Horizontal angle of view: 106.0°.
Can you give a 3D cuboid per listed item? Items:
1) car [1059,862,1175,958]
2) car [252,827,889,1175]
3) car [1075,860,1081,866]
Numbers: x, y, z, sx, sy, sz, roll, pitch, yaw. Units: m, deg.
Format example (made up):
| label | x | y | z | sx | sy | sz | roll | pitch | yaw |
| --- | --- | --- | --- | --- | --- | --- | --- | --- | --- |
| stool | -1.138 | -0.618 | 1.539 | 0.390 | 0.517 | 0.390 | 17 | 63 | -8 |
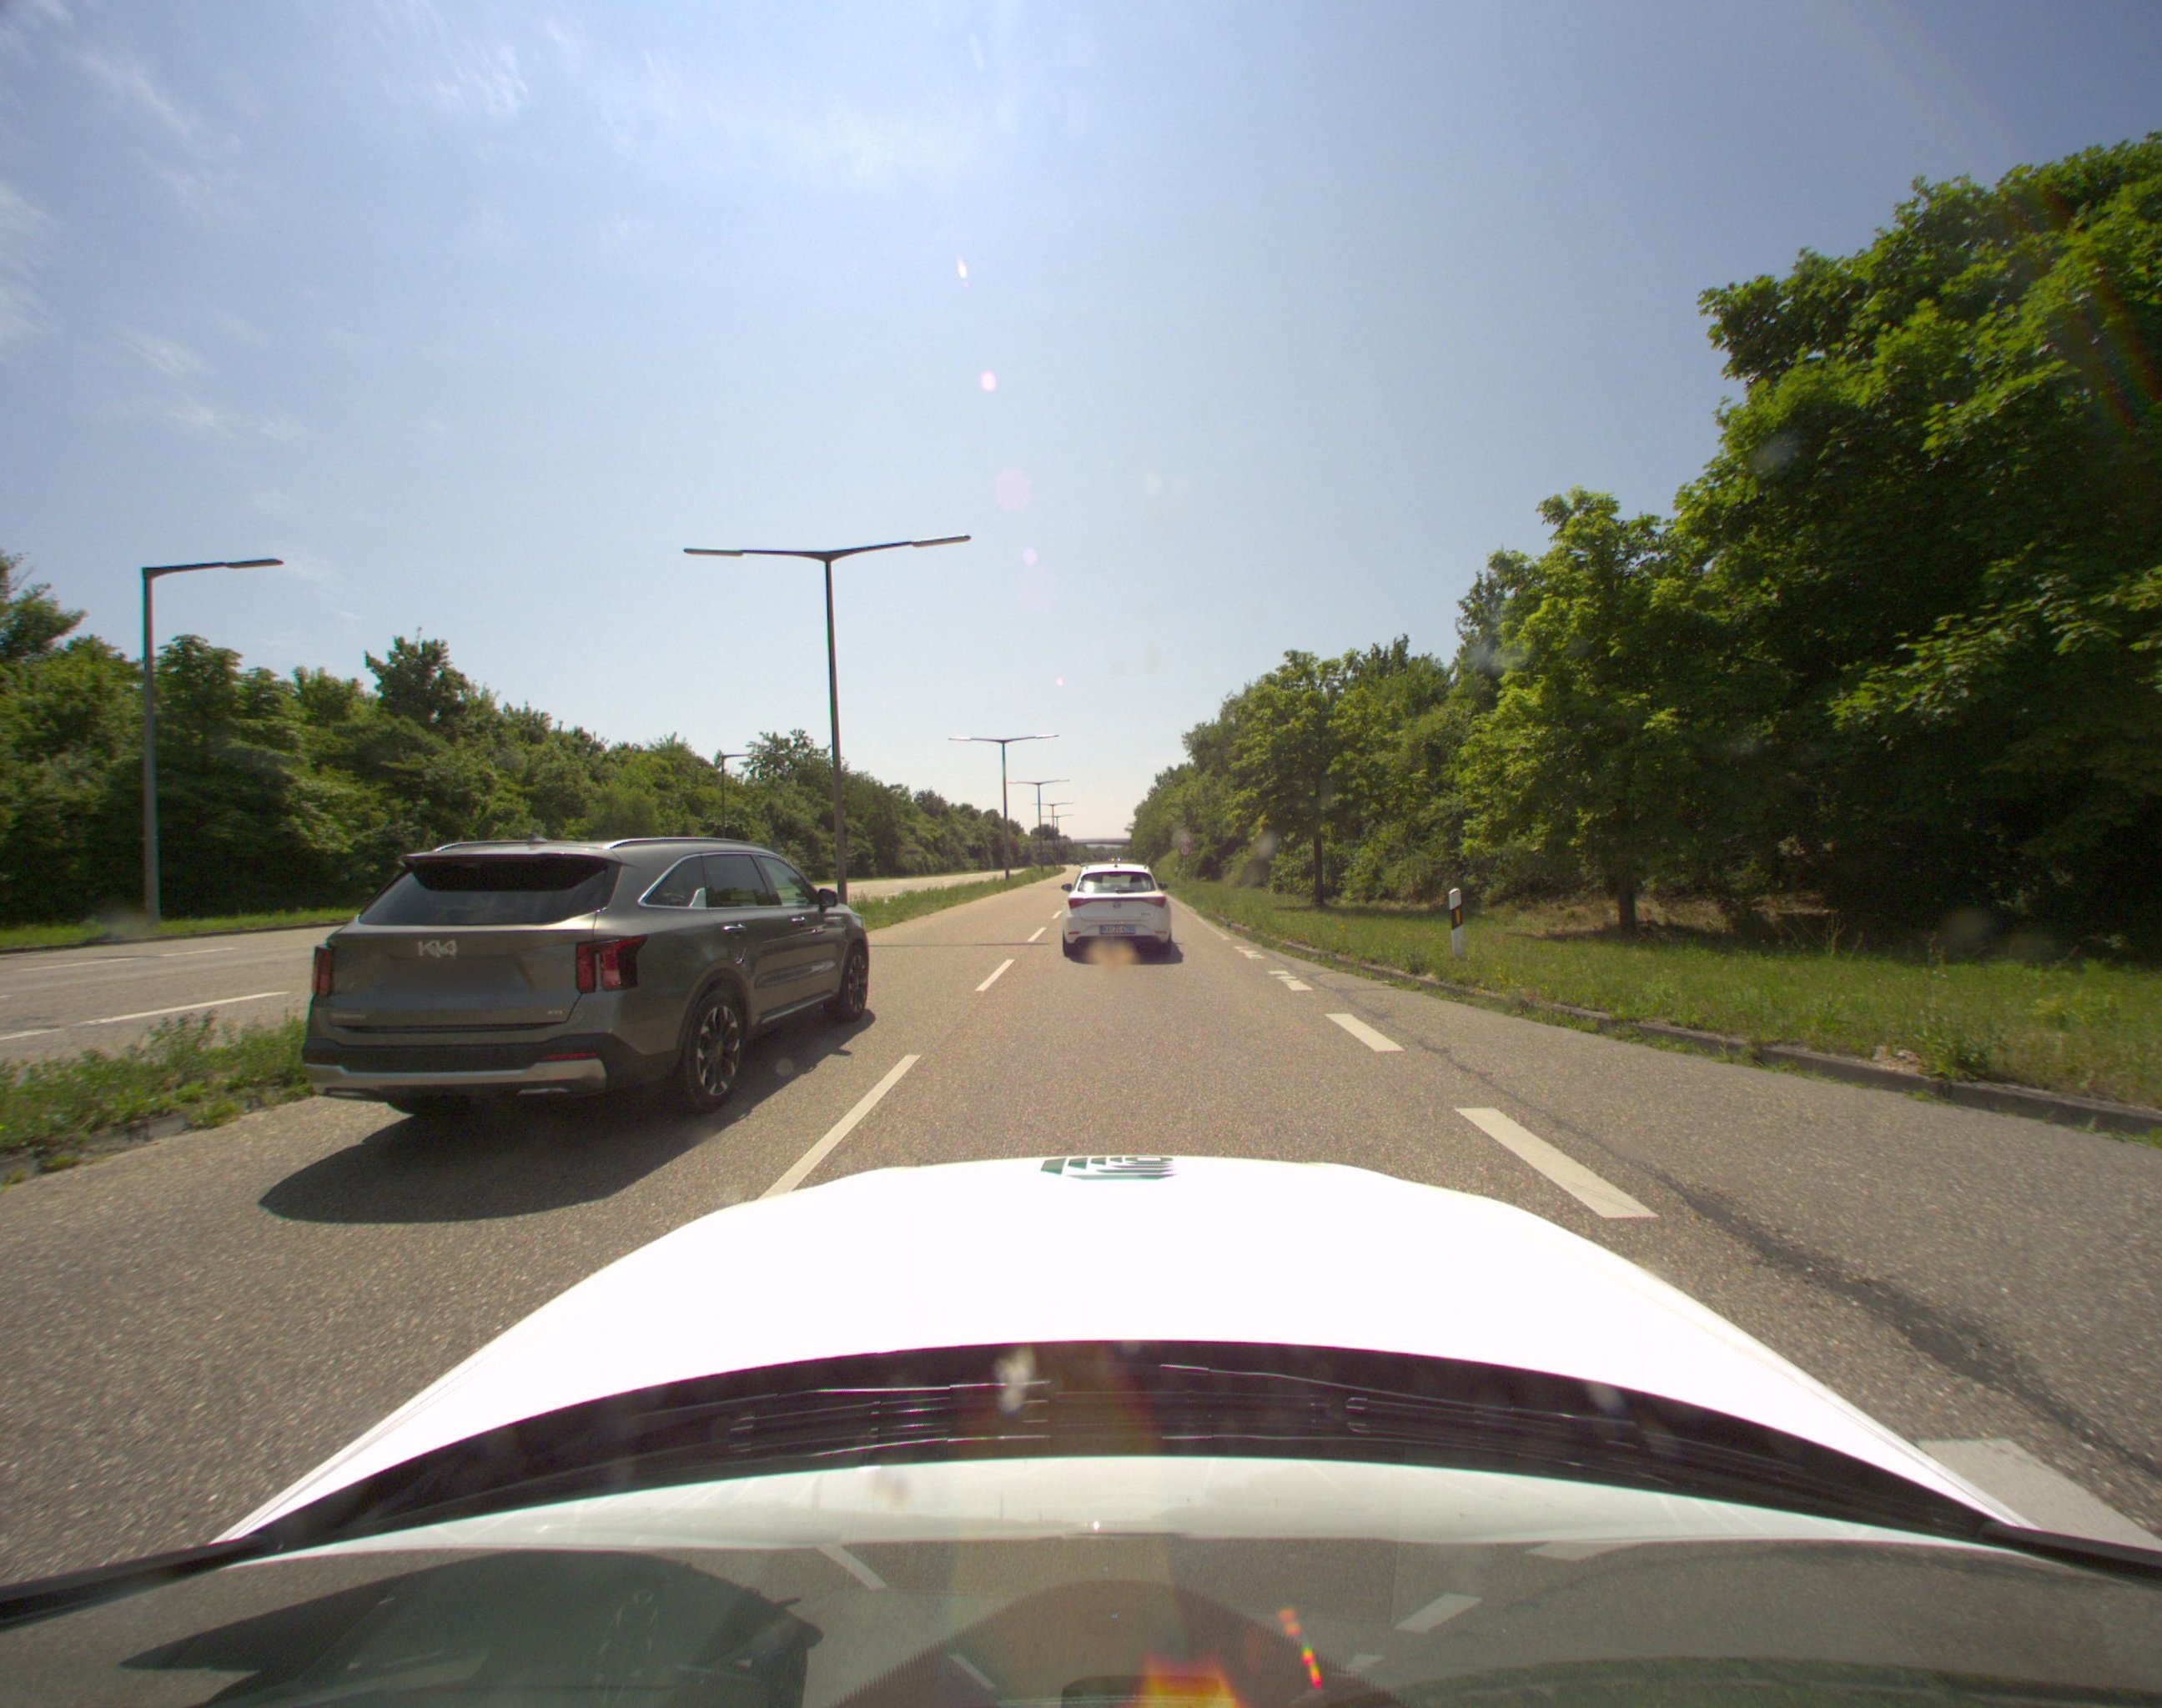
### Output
| label | x | y | z | sx | sy | sz | roll | pitch | yaw |
| --- | --- | --- | --- | --- | --- | --- | --- | --- | --- |
| car | 0.628 | 0.865 | 13.955 | 1.727 | 1.428 | 3.697 | 0 | -1 | 3 |
| car | -3.062 | 0.743 | 6.302 | 1.796 | 1.662 | 4.647 | -2 | -1 | 3 |
| car | -0.847 | 2.660 | 242.857 | 1.848 | 1.709 | 4.001 | 1 | 0 | 1 |
